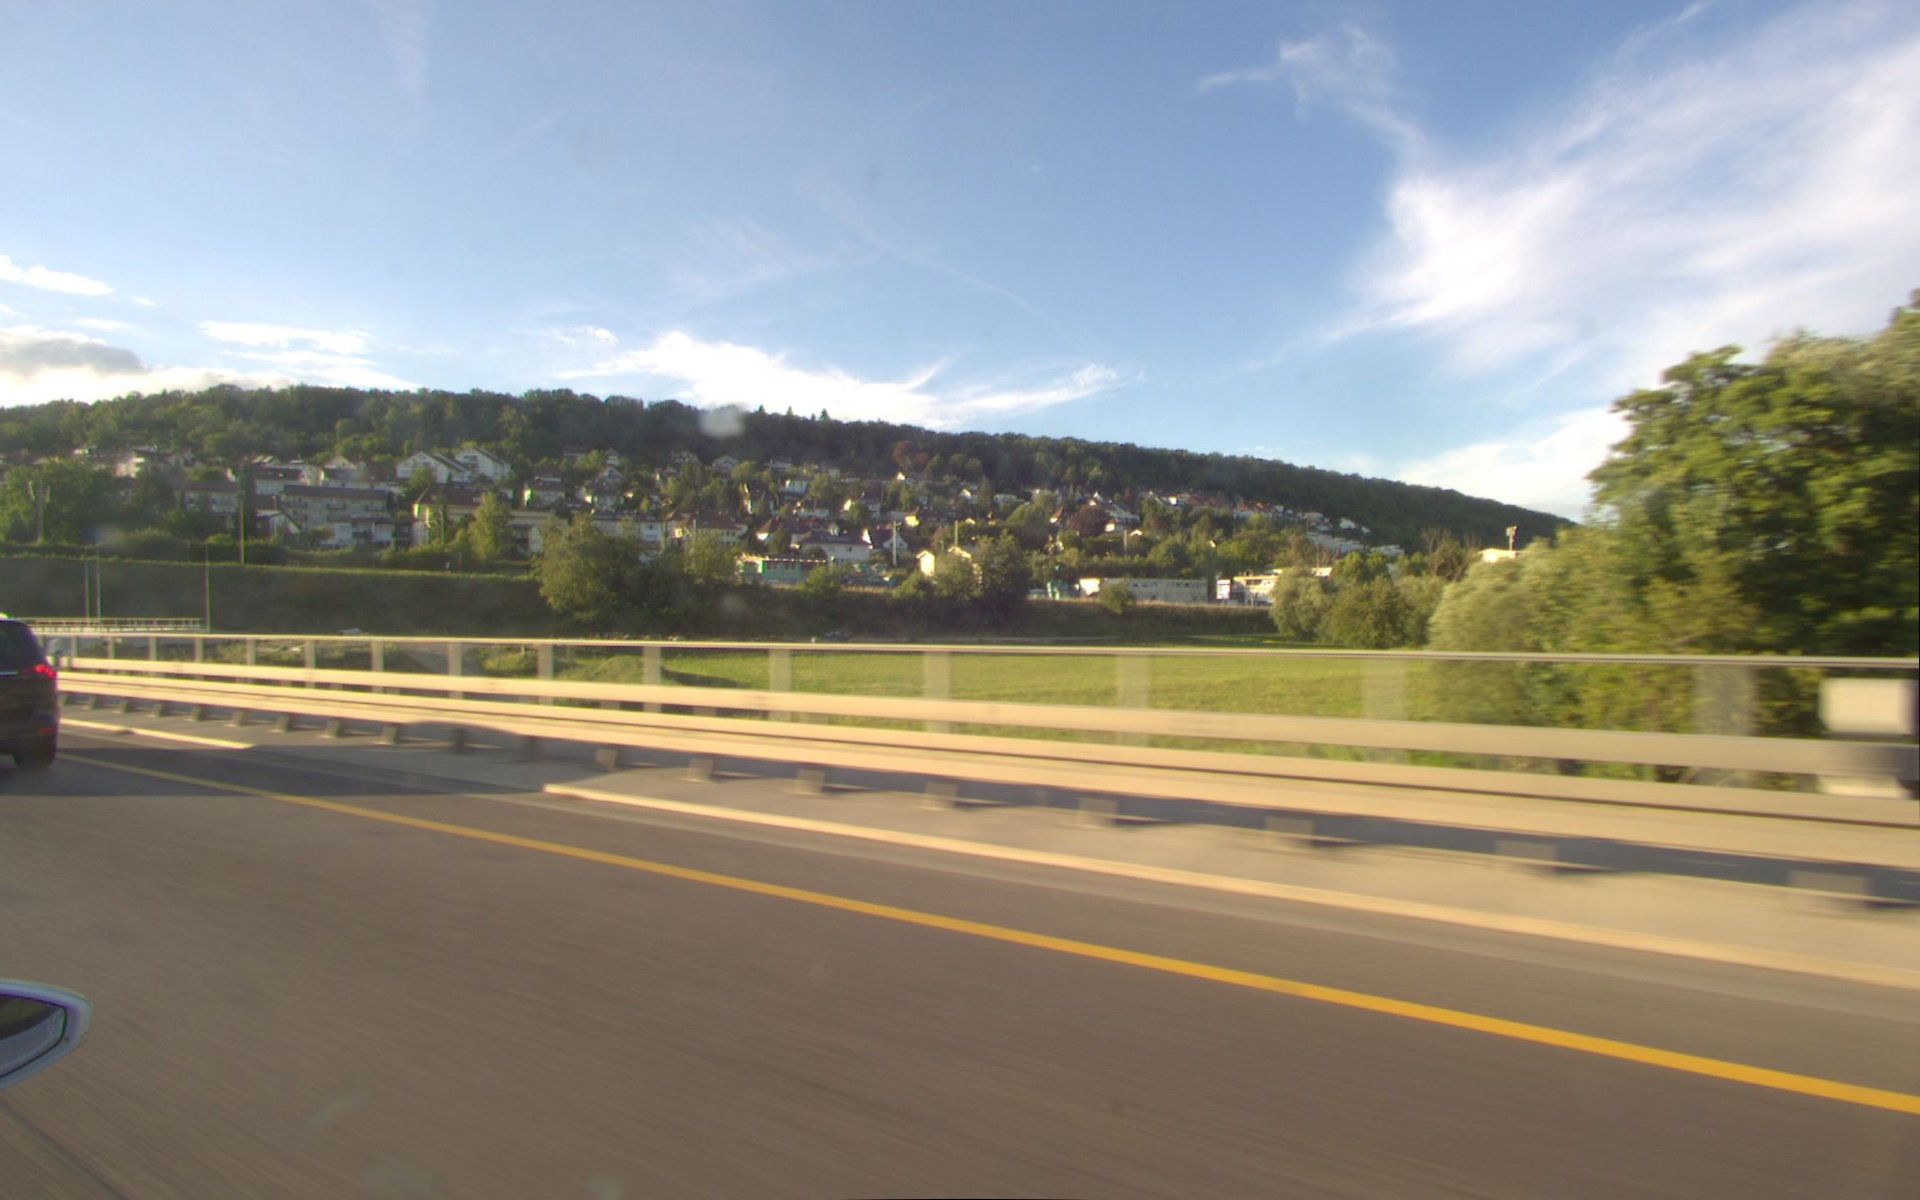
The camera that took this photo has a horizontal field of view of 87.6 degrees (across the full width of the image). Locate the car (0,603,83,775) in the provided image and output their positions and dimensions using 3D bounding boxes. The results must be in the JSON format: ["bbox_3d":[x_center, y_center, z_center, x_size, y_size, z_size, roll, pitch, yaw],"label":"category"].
[{"bbox_3d":[-11.250,0.874,10.599,4.348,1.653,1.811,-1,-2,32],"label":"car"}]
